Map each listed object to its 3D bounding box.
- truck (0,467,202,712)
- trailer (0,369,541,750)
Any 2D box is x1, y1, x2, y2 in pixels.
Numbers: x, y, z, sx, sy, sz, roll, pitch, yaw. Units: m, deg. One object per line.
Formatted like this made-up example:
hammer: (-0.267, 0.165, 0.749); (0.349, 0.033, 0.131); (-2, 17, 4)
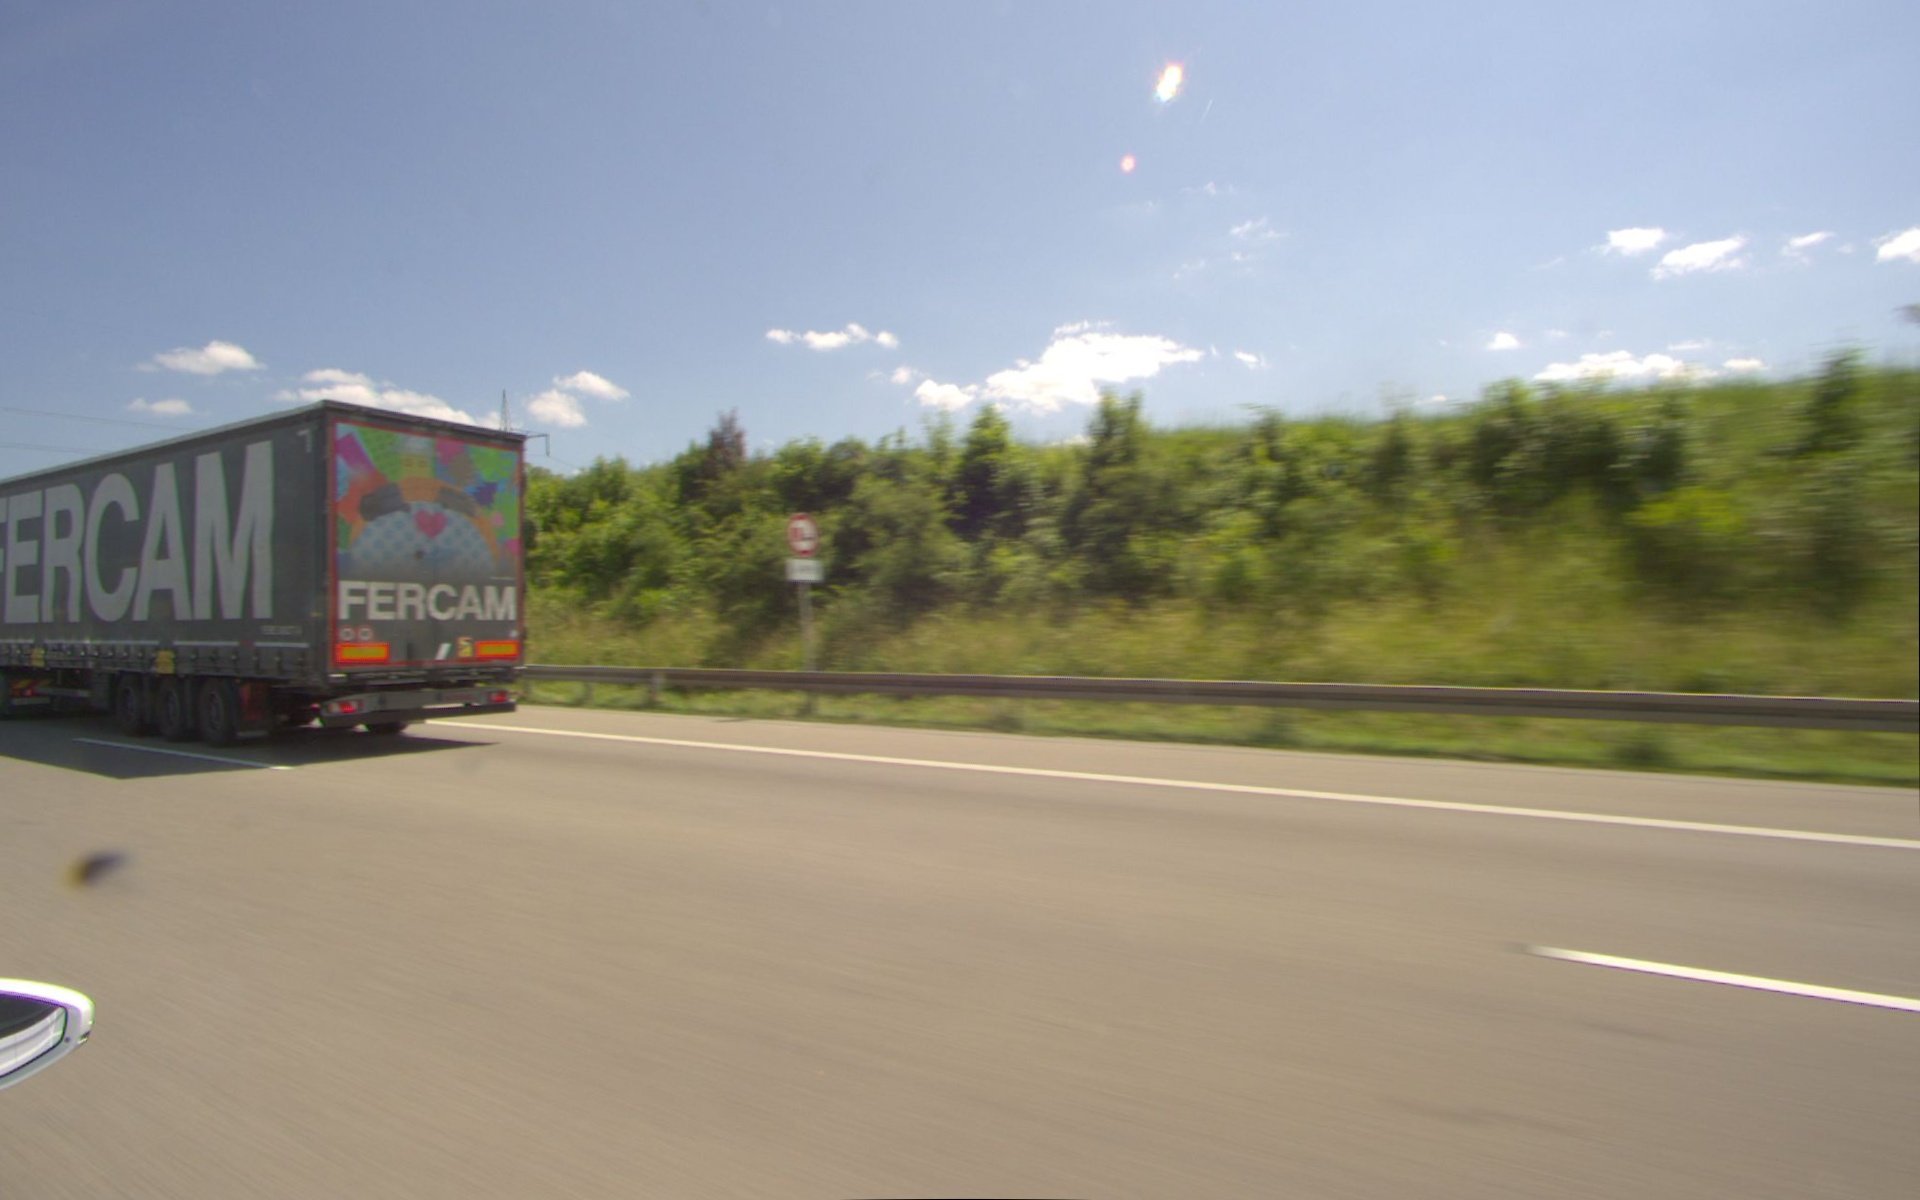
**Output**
truck: (-17.942, -0.067, 19.628); (6.692, 4.071, 2.748); (-1, -2, 32)
trailer: (-11.229, -0.290, 15.347); (11.640, 4.207, 2.721); (-1, -2, 32)
